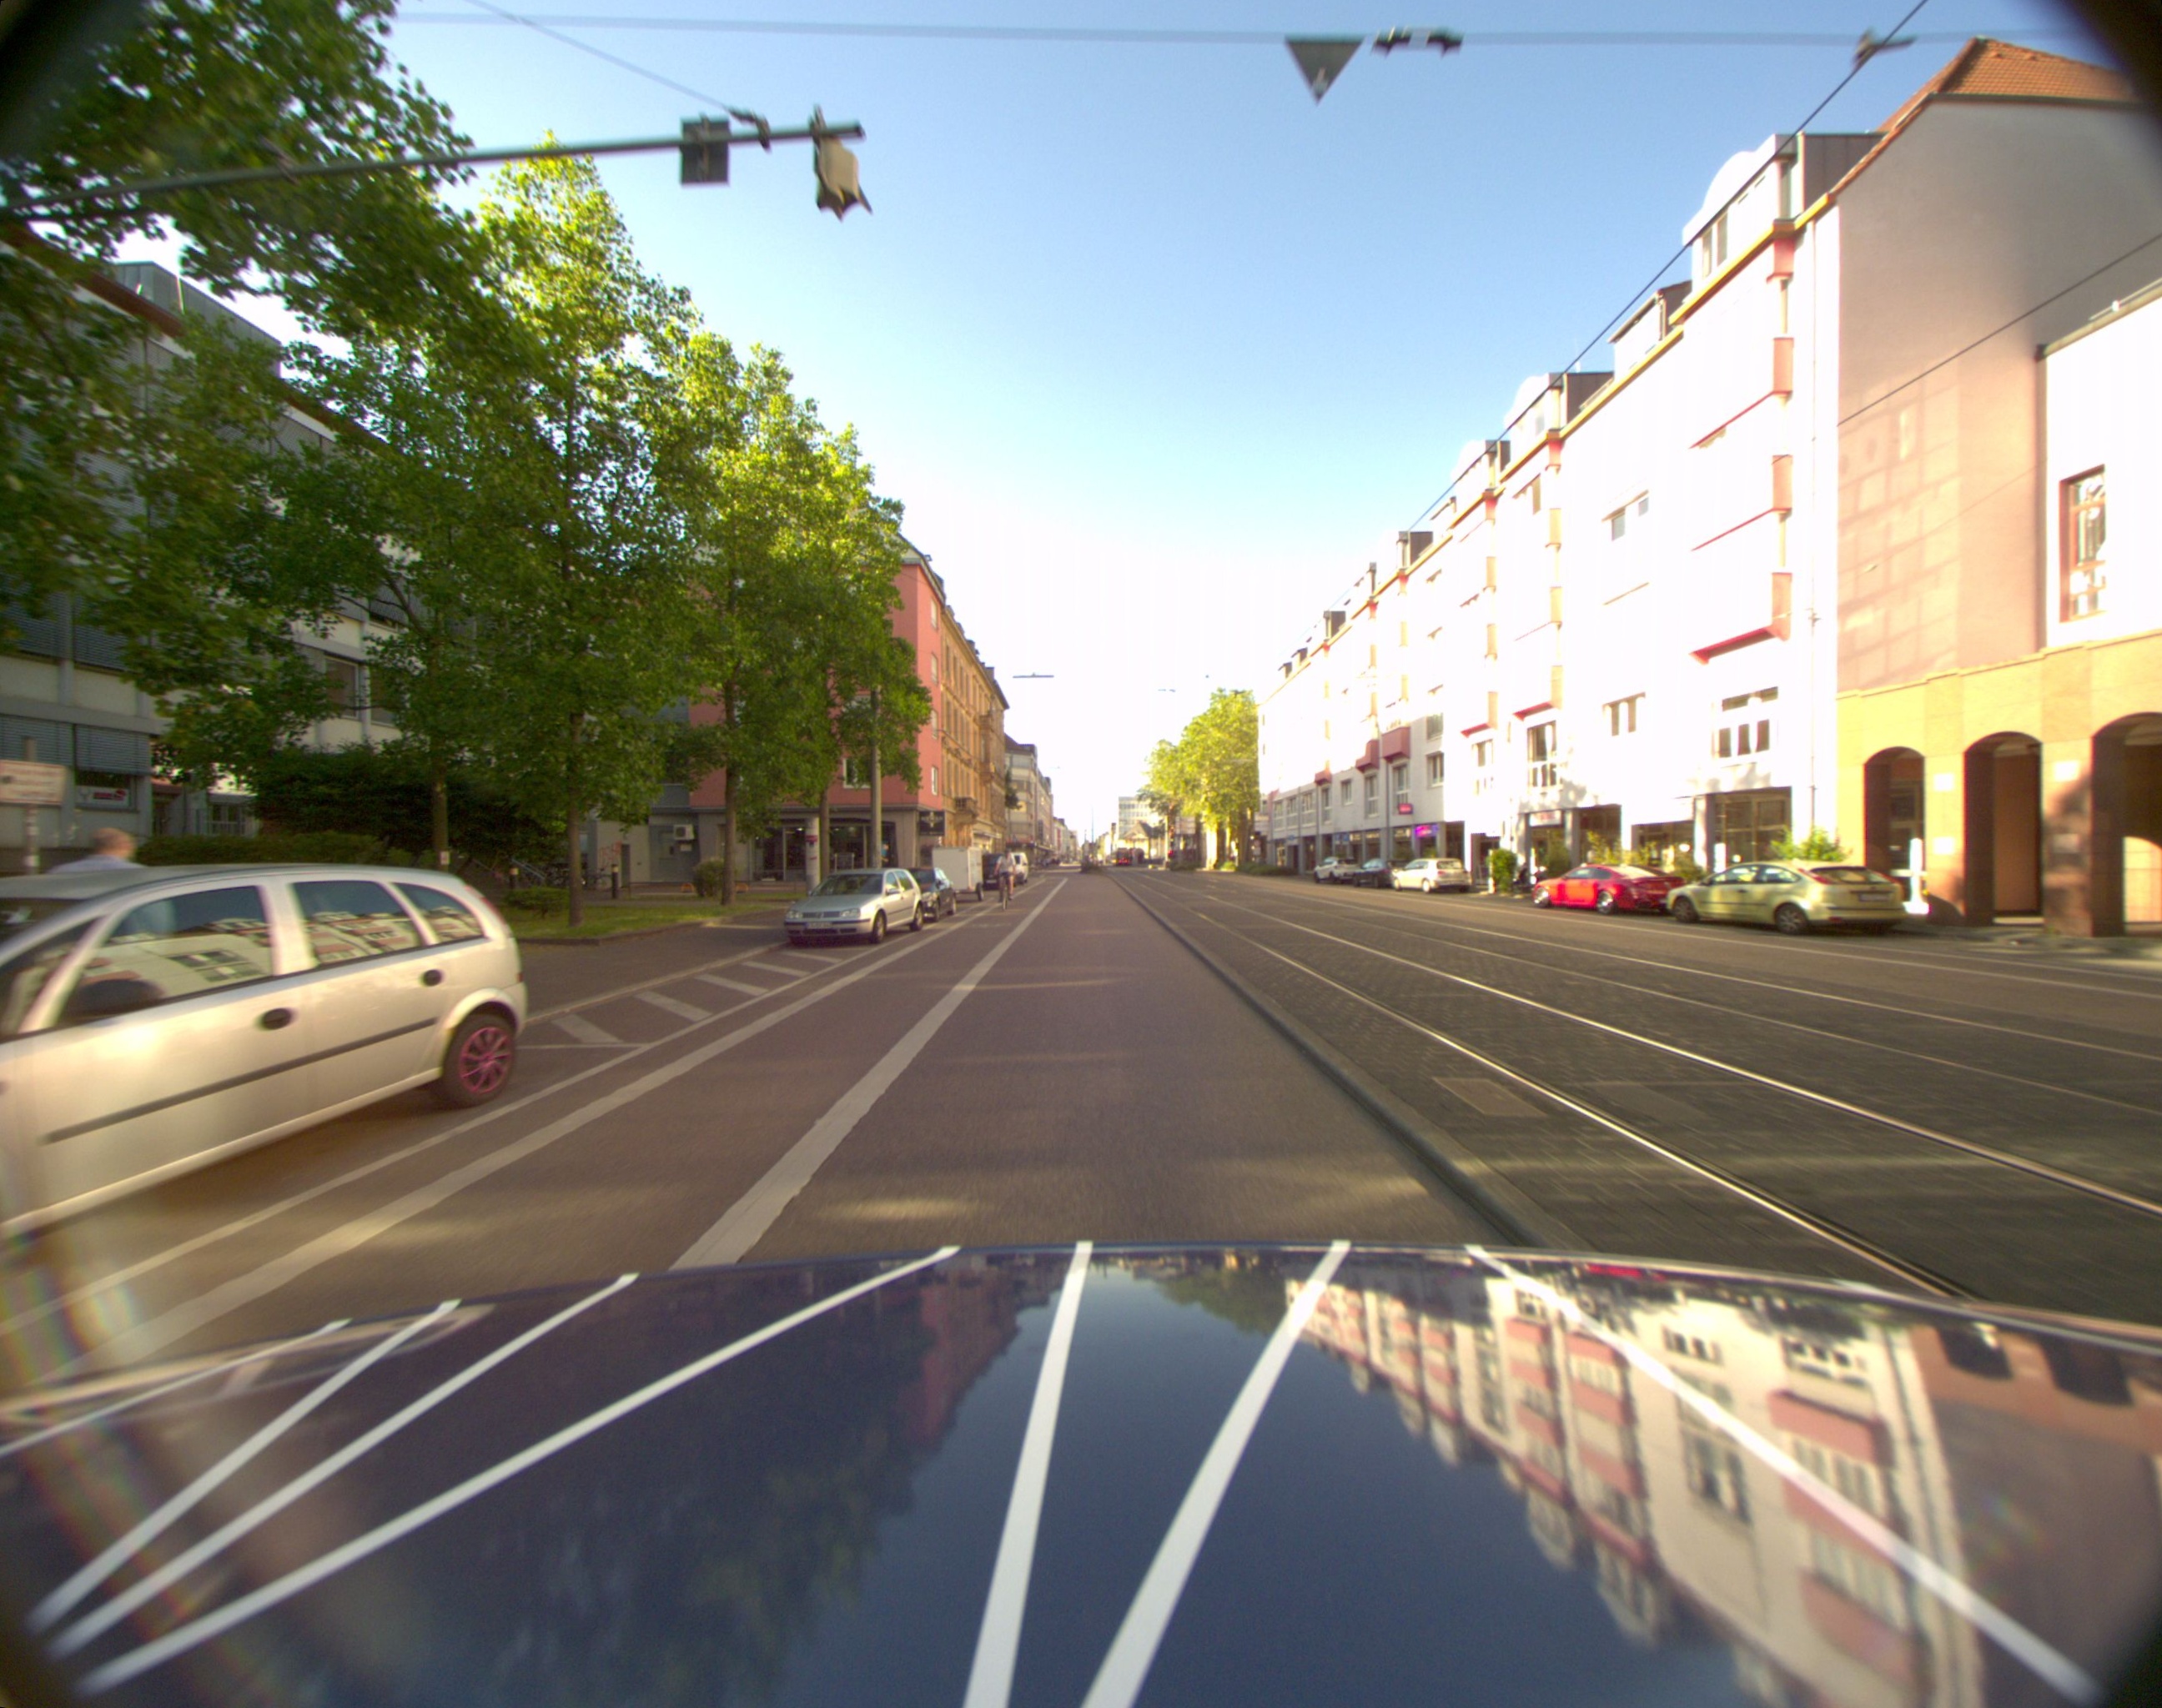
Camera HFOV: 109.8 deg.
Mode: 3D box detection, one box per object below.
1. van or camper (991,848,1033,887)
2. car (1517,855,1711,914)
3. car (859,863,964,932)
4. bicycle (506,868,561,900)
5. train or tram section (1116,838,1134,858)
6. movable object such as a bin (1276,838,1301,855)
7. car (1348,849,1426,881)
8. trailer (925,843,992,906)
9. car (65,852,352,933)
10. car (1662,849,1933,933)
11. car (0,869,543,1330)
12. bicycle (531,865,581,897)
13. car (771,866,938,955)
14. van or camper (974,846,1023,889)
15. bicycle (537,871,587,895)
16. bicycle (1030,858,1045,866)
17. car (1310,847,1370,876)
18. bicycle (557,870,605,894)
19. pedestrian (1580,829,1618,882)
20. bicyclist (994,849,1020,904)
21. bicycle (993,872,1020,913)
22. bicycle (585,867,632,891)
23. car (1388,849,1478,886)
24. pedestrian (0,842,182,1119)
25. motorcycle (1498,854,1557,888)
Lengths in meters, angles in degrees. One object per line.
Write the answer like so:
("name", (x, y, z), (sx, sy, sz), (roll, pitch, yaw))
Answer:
("van or camper", (-4.051, 0.741, 45.687), (1.936, 2.025, 5.474), (-2, 1, 0))
("car", (14.589, 0.760, 21.218), (1.965, 1.317, 4.820), (-3, 0, 0))
("car", (-4.375, 1.061, 20.292), (1.807, 1.427, 4.322), (-3, 1, -1))
("bicycle", (-19.549, 1.068, 27.135), (1.588, 1.108, 0.449), (1, 1, -5))
("train or tram section", (8.402, -1.018, 146.859), (2.981, 3.623, 16.488), (-3, 0, 2))
("movable object such as a bin", (24.136, -0.859, 88.324), (2.644, 2.002, 1.177), (-1, 1, 24))
("car", (15.081, 0.489, 37.711), (1.906, 1.449, 4.825), (-1, 1, 0))
("trailer", (-4.474, 0.692, 28.277), (1.665, 2.104, 3.842), (-3, 1, 2))
("car", (-18.518, 0.726, 16.465), (1.795, 1.455, 3.997), (-1, 1, -6))
("car", (14.773, 0.671, 16.066), (1.673, 1.460, 4.290), (-3, 1, 0))
("car", (-4.759, 0.944, 3.432), (1.718, 1.581, 4.064), (-2, 0, -1))
("bicycle", (-19.479, 0.991, 28.188), (1.587, 1.119, 0.449), (1, 1, 2))
("car", (-4.448, 1.044, 15.661), (1.753, 1.434, 4.316), (-2, 0, 5))
("van or camper", (-4.200, 0.637, 39.586), (1.976, 2.034, 5.330), (-3, 1, -1))
("bicycle", (-19.704, 1.096, 28.861), (1.587, 0.871, 0.449), (1, 1, 2))
("bicycle", (-5.694, 1.051, 98.760), (1.951, 1.100, 0.564), (-1, 1, -1))
("car", (15.207, 0.407, 44.844), (1.922, 1.604, 4.368), (-1, 1, -2))
("bicycle", (-19.232, 1.074, 29.227), (1.587, 0.871, 0.449), (1, 1, 2))
("pedestrian", (18.490, 0.046, 27.131), (0.822, 1.832, 0.717), (-3, 0, -9))
("bicyclist", (-2.275, 0.668, 23.381), (0.656, 1.646, 0.927), (-2, 1, 0))
("bicycle", (-2.281, 1.163, 23.501), (0.649, 1.132, 2.095), (-1, 1, -1))
("bicycle", (-19.439, 1.036, 31.299), (1.588, 0.957, 0.449), (1, 1, -10))
("car", (14.993, 0.513, 32.622), (1.756, 1.466, 4.206), (-1, 1, -2))
("pedestrian", (-6.877, 0.816, 5.233), (0.612, 1.798, 0.602), (0, 1, 5))
("motorcycle", (16.578, 0.621, 28.251), (0.462, 1.187, 2.079), (-3, 0, -17))
